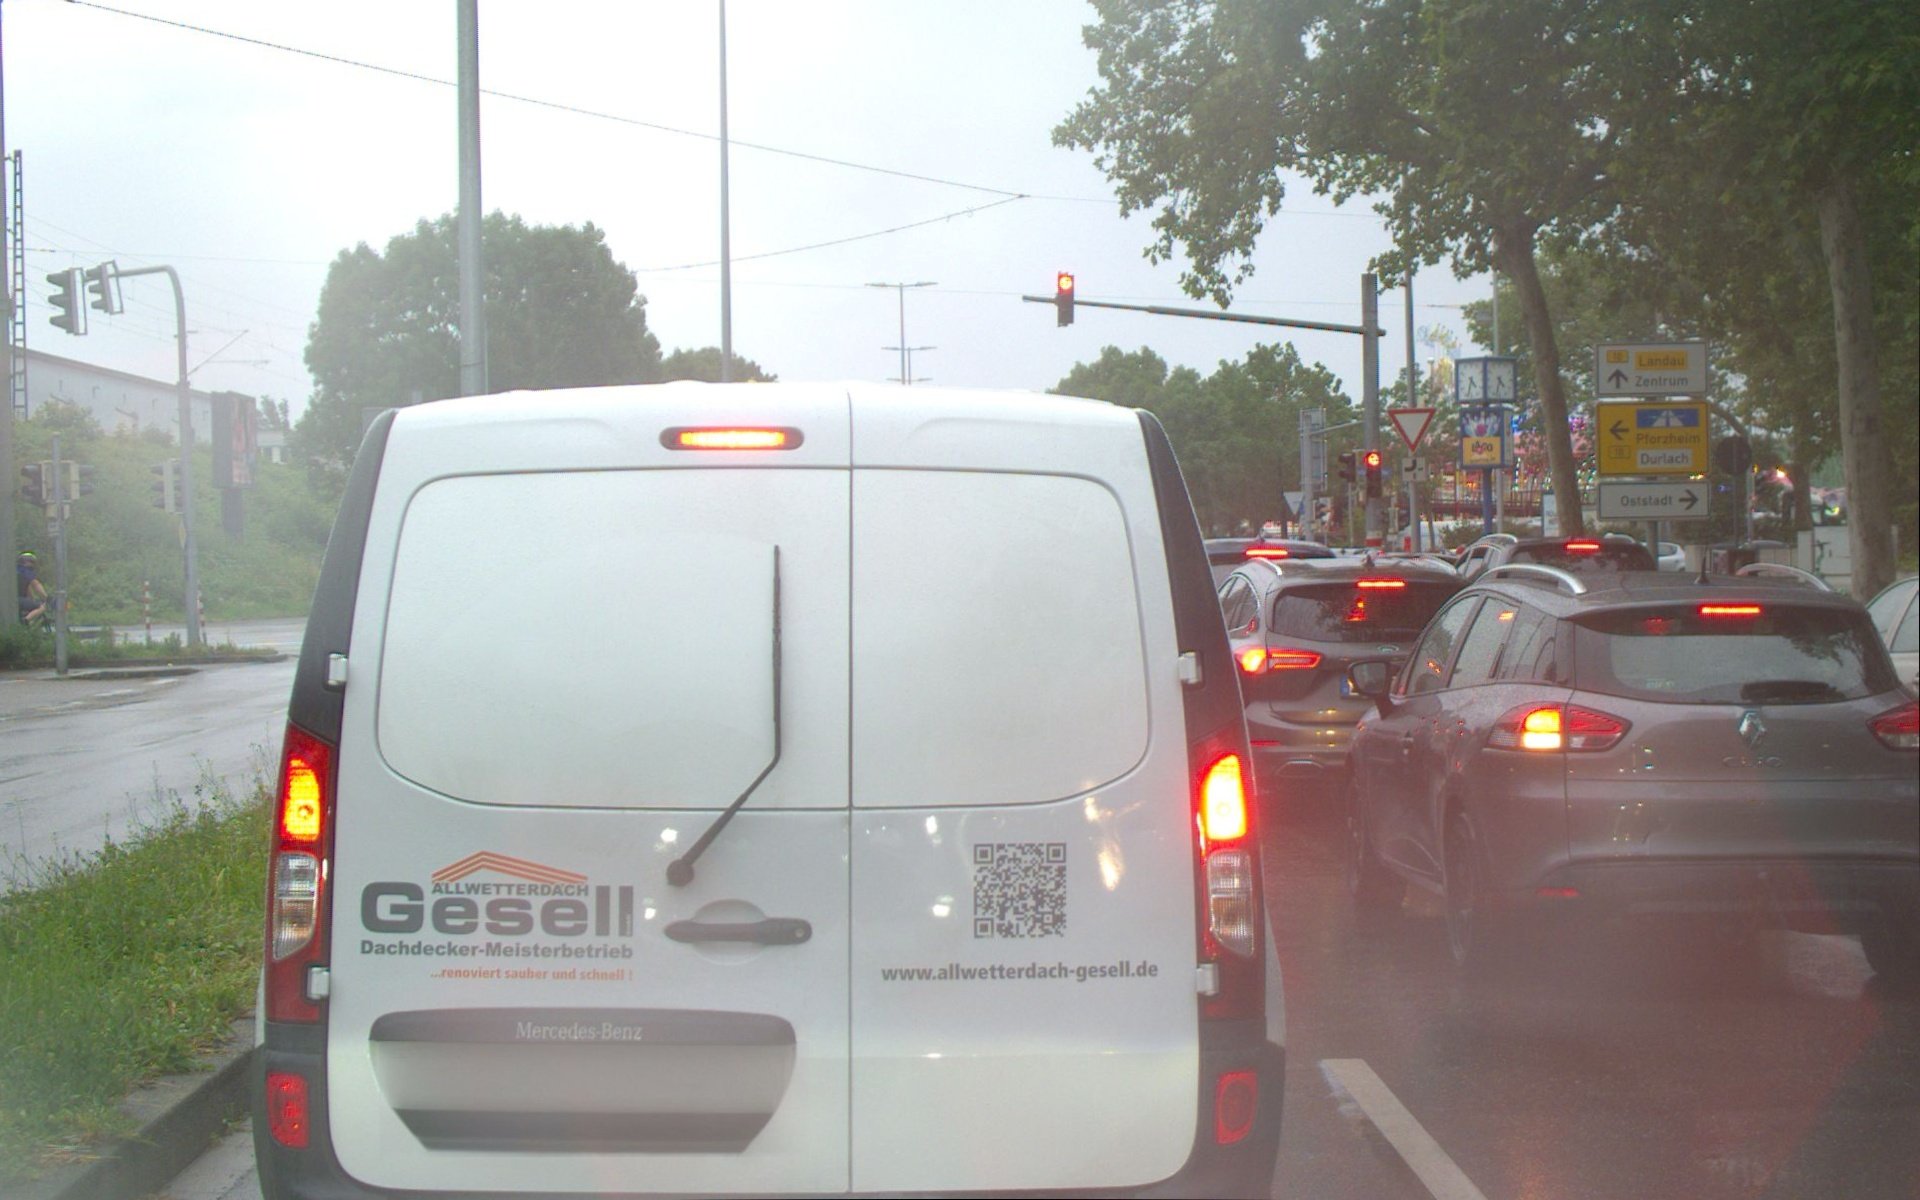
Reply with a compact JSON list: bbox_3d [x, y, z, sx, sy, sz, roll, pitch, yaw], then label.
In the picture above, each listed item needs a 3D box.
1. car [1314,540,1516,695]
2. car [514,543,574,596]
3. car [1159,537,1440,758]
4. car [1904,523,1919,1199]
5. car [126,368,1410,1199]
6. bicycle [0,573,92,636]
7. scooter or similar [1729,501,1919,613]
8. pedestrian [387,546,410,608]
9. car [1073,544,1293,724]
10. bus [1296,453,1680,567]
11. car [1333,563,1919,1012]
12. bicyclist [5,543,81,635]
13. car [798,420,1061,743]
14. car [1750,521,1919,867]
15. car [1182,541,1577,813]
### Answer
[{"bbox_3d":[5.055,0.166,38.634,1.708,1.644,3.843,0,1,-1],"label":"car"},{"bbox_3d":[-12.861,-0.947,106.379,1.468,1.554,3.508,-1,2,-1],"label":"car"},{"bbox_3d":[2.671,0.323,27.862,1.854,1.644,3.843,0,1,-1],"label":"car"},{"bbox_3d":[2.972,0.646,5.410,1.747,1.549,4.091,0,1,-1],"label":"car"},{"bbox_3d":[-0.321,0.478,7.653,1.993,1.770,4.585,0,1,-1],"label":"car"},{"bbox_3d":[-14.836,0.058,55.568,1.040,0.949,2.889,-2,2,-25],"label":"bicycle"},{"bbox_3d":[19.991,-0.981,77.061,1.890,2.437,5.316,-1,1,-41],"label":"scooter or similar"},{"bbox_3d":[-15.703,-0.646,96.159,0.543,1.710,0.563,1,0,-4],"label":"pedestrian"},{"bbox_3d":[2.114,0.295,33.525,1.854,1.644,3.843,0,1,-1],"label":"car"},{"bbox_3d":[16.969,-2.914,110.875,11.970,3.411,2.315,-1,1,0],"label":"bus"},{"bbox_3d":[2.521,0.591,13.080,1.683,1.403,3.843,1,1,-1],"label":"car"},{"bbox_3d":[-14.821,-0.189,55.544,1.040,1.445,0.729,-2,2,-25],"label":"bicyclist"},{"bbox_3d":[-0.237,-0.172,26.341,1.854,2.288,3.843,0,1,-1],"label":"car"},{"bbox_3d":[5.423,0.435,17.336,1.876,1.607,4.000,1,1,-1],"label":"car"},{"bbox_3d":[2.410,0.386,20.634,1.854,1.455,3.843,0,1,-1],"label":"car"}]
